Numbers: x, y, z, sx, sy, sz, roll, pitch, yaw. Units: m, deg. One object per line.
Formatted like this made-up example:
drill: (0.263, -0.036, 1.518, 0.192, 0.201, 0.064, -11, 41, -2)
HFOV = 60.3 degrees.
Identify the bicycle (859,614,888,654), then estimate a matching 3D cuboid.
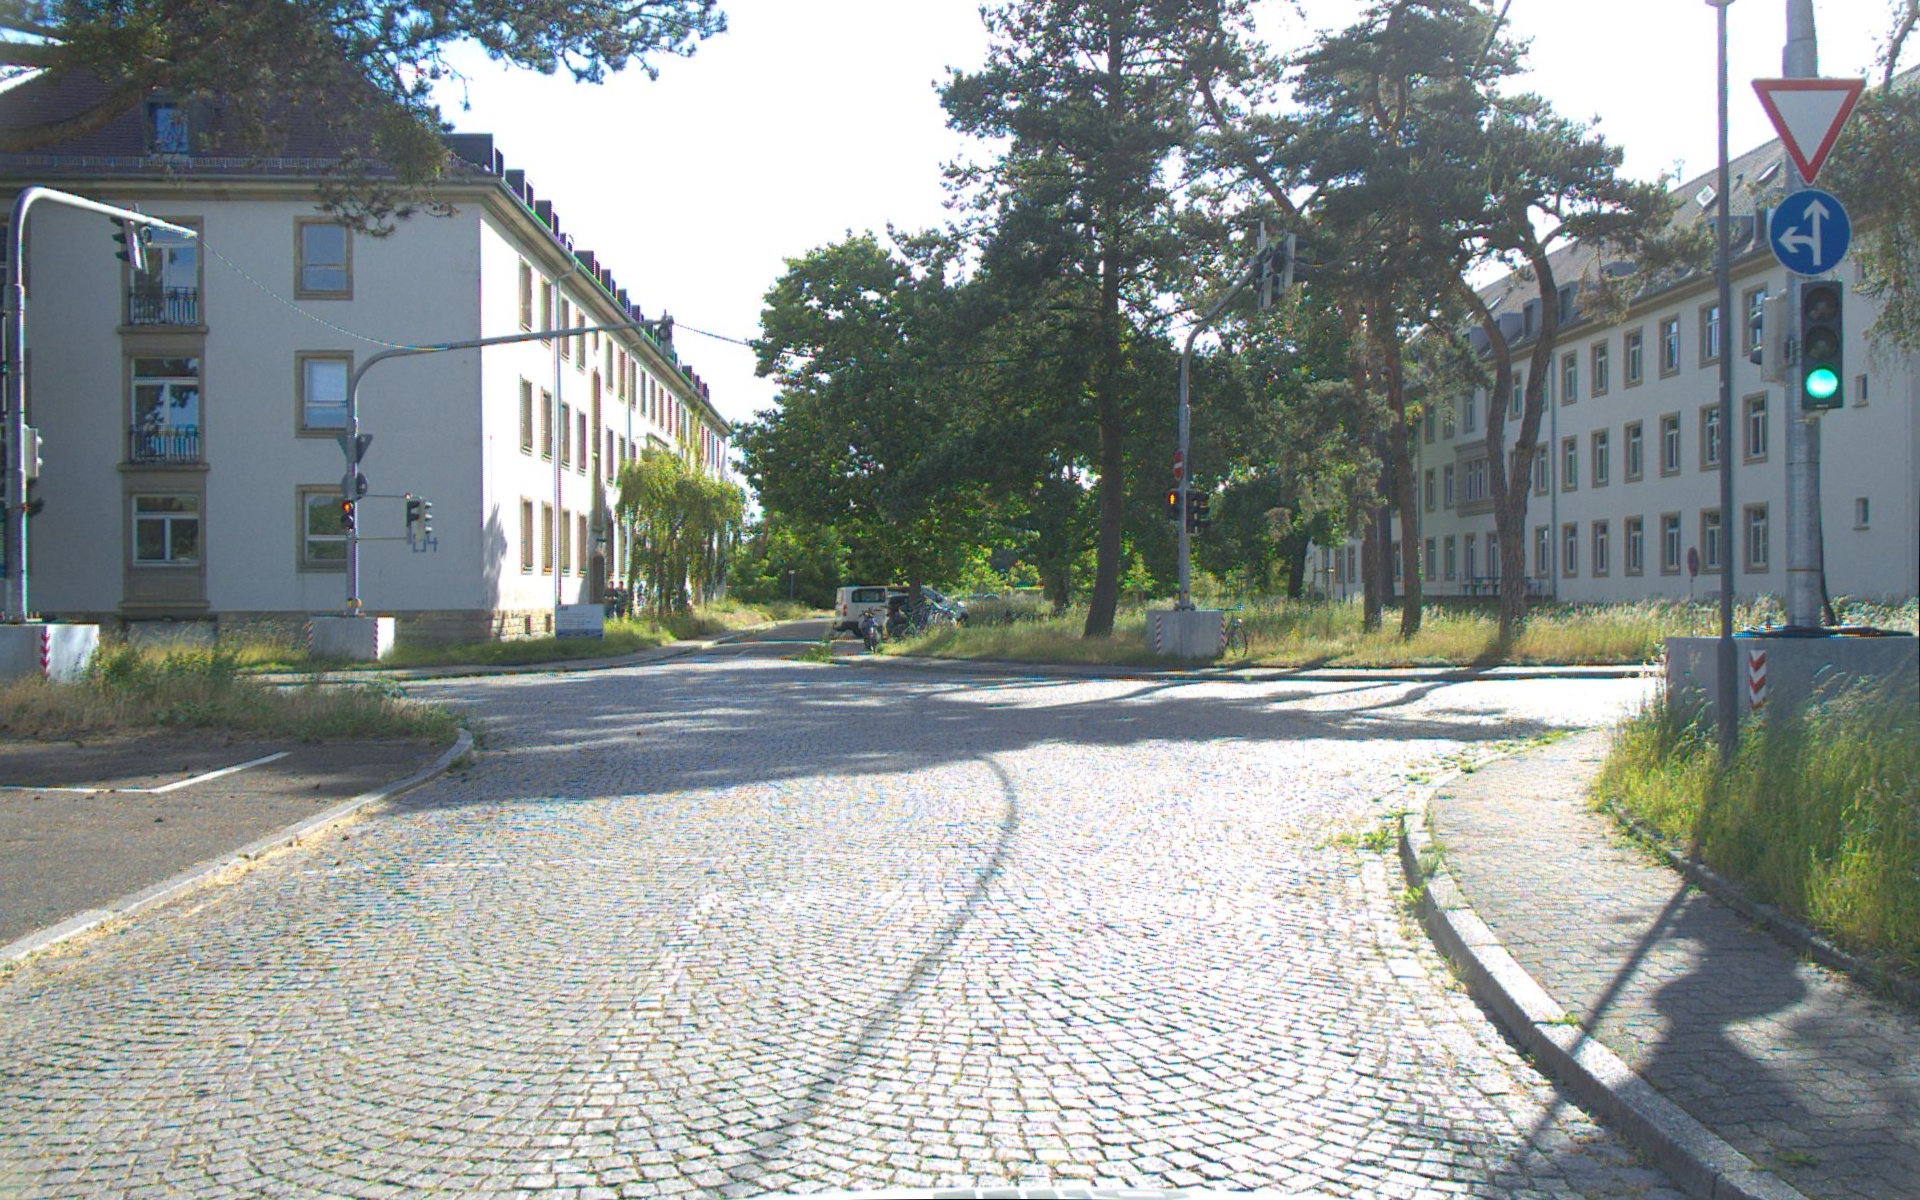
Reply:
bicycle: (-2.225, 0.850, 42.263, 0.682, 0.988, 1.859, 0, 0, -5)

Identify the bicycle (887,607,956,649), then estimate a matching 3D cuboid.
bicycle: (-1.085, 0.778, 46.599, 1.903, 1.149, 0.749, 0, 0, -6)

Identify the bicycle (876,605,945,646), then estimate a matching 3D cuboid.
bicycle: (-1.422, 0.731, 47.802, 1.920, 1.149, 0.641, 0, 0, -30)

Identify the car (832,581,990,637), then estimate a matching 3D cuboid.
car: (-1.934, 0.328, 63.910, 5.822, 2.049, 2.470, 0, 0, -10)

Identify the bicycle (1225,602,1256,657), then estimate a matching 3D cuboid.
bicycle: (5.764, 0.596, 34.001, 0.456, 1.099, 1.174, 0, 0, 1)

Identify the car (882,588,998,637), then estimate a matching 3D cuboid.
car: (-0.740, 0.449, 59.601, 3.915, 1.713, 1.842, 0, 0, -11)

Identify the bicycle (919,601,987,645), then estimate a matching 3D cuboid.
bicycle: (-0.215, 0.658, 47.345, 1.903, 1.257, 0.485, 0, 0, -6)

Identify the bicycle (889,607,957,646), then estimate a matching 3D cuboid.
bicycle: (-1.025, 0.735, 45.805, 1.818, 1.049, 0.749, 0, 0, -6)

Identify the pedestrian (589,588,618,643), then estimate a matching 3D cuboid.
pedestrian: (-12.159, 0.521, 56.413, 0.794, 1.849, 0.555, 0, 0, 8)

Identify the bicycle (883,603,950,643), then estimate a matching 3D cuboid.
bicycle: (-1.289, 0.684, 48.898, 1.904, 1.149, 0.646, 0, 0, -8)

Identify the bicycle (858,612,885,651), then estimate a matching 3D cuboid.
bicycle: (-2.370, 0.837, 44.196, 0.682, 0.988, 1.859, 0, 0, -5)

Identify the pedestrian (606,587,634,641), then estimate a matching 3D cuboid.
pedestrian: (-11.863, 0.482, 57.716, 0.751, 1.849, 0.683, 0, 0, 8)
